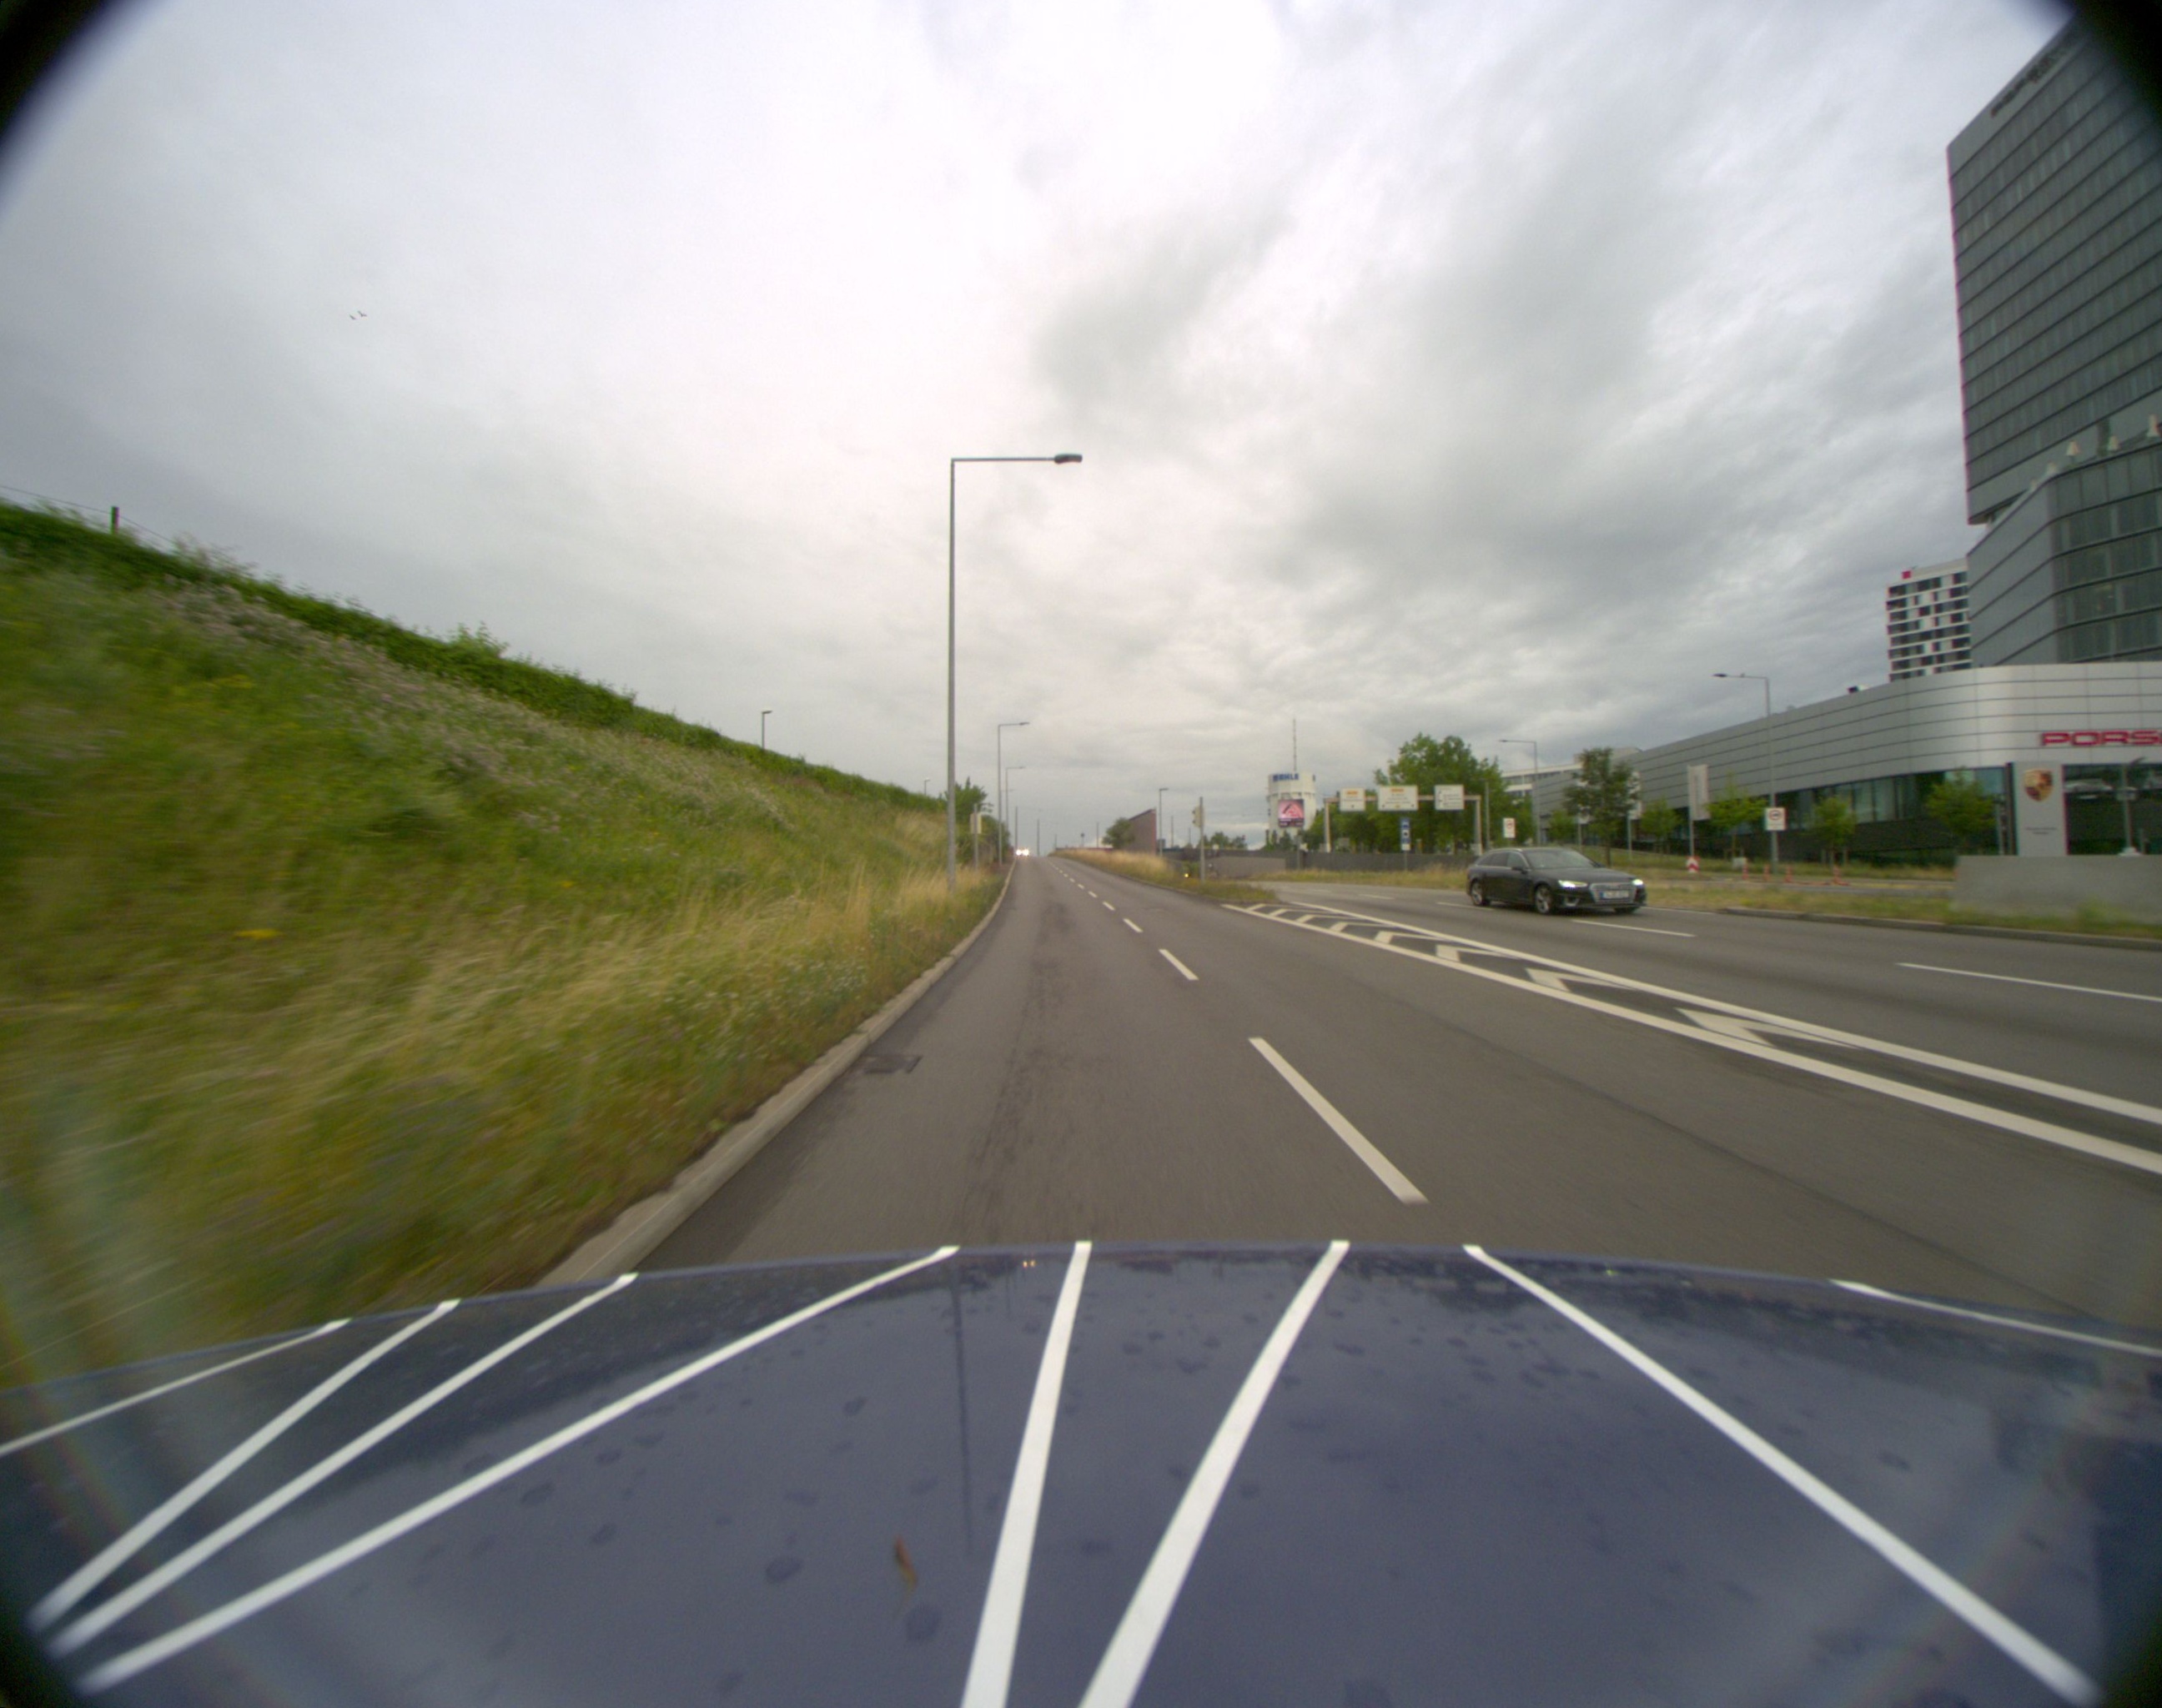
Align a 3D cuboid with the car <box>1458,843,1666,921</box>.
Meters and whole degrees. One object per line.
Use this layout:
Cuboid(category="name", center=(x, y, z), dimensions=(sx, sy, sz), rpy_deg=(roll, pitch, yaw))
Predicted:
Cuboid(category="car", center=(10.422, 0.517, 16.957), dimensions=(1.814, 1.411, 4.632), rpy_deg=(-3, 0, 3))
